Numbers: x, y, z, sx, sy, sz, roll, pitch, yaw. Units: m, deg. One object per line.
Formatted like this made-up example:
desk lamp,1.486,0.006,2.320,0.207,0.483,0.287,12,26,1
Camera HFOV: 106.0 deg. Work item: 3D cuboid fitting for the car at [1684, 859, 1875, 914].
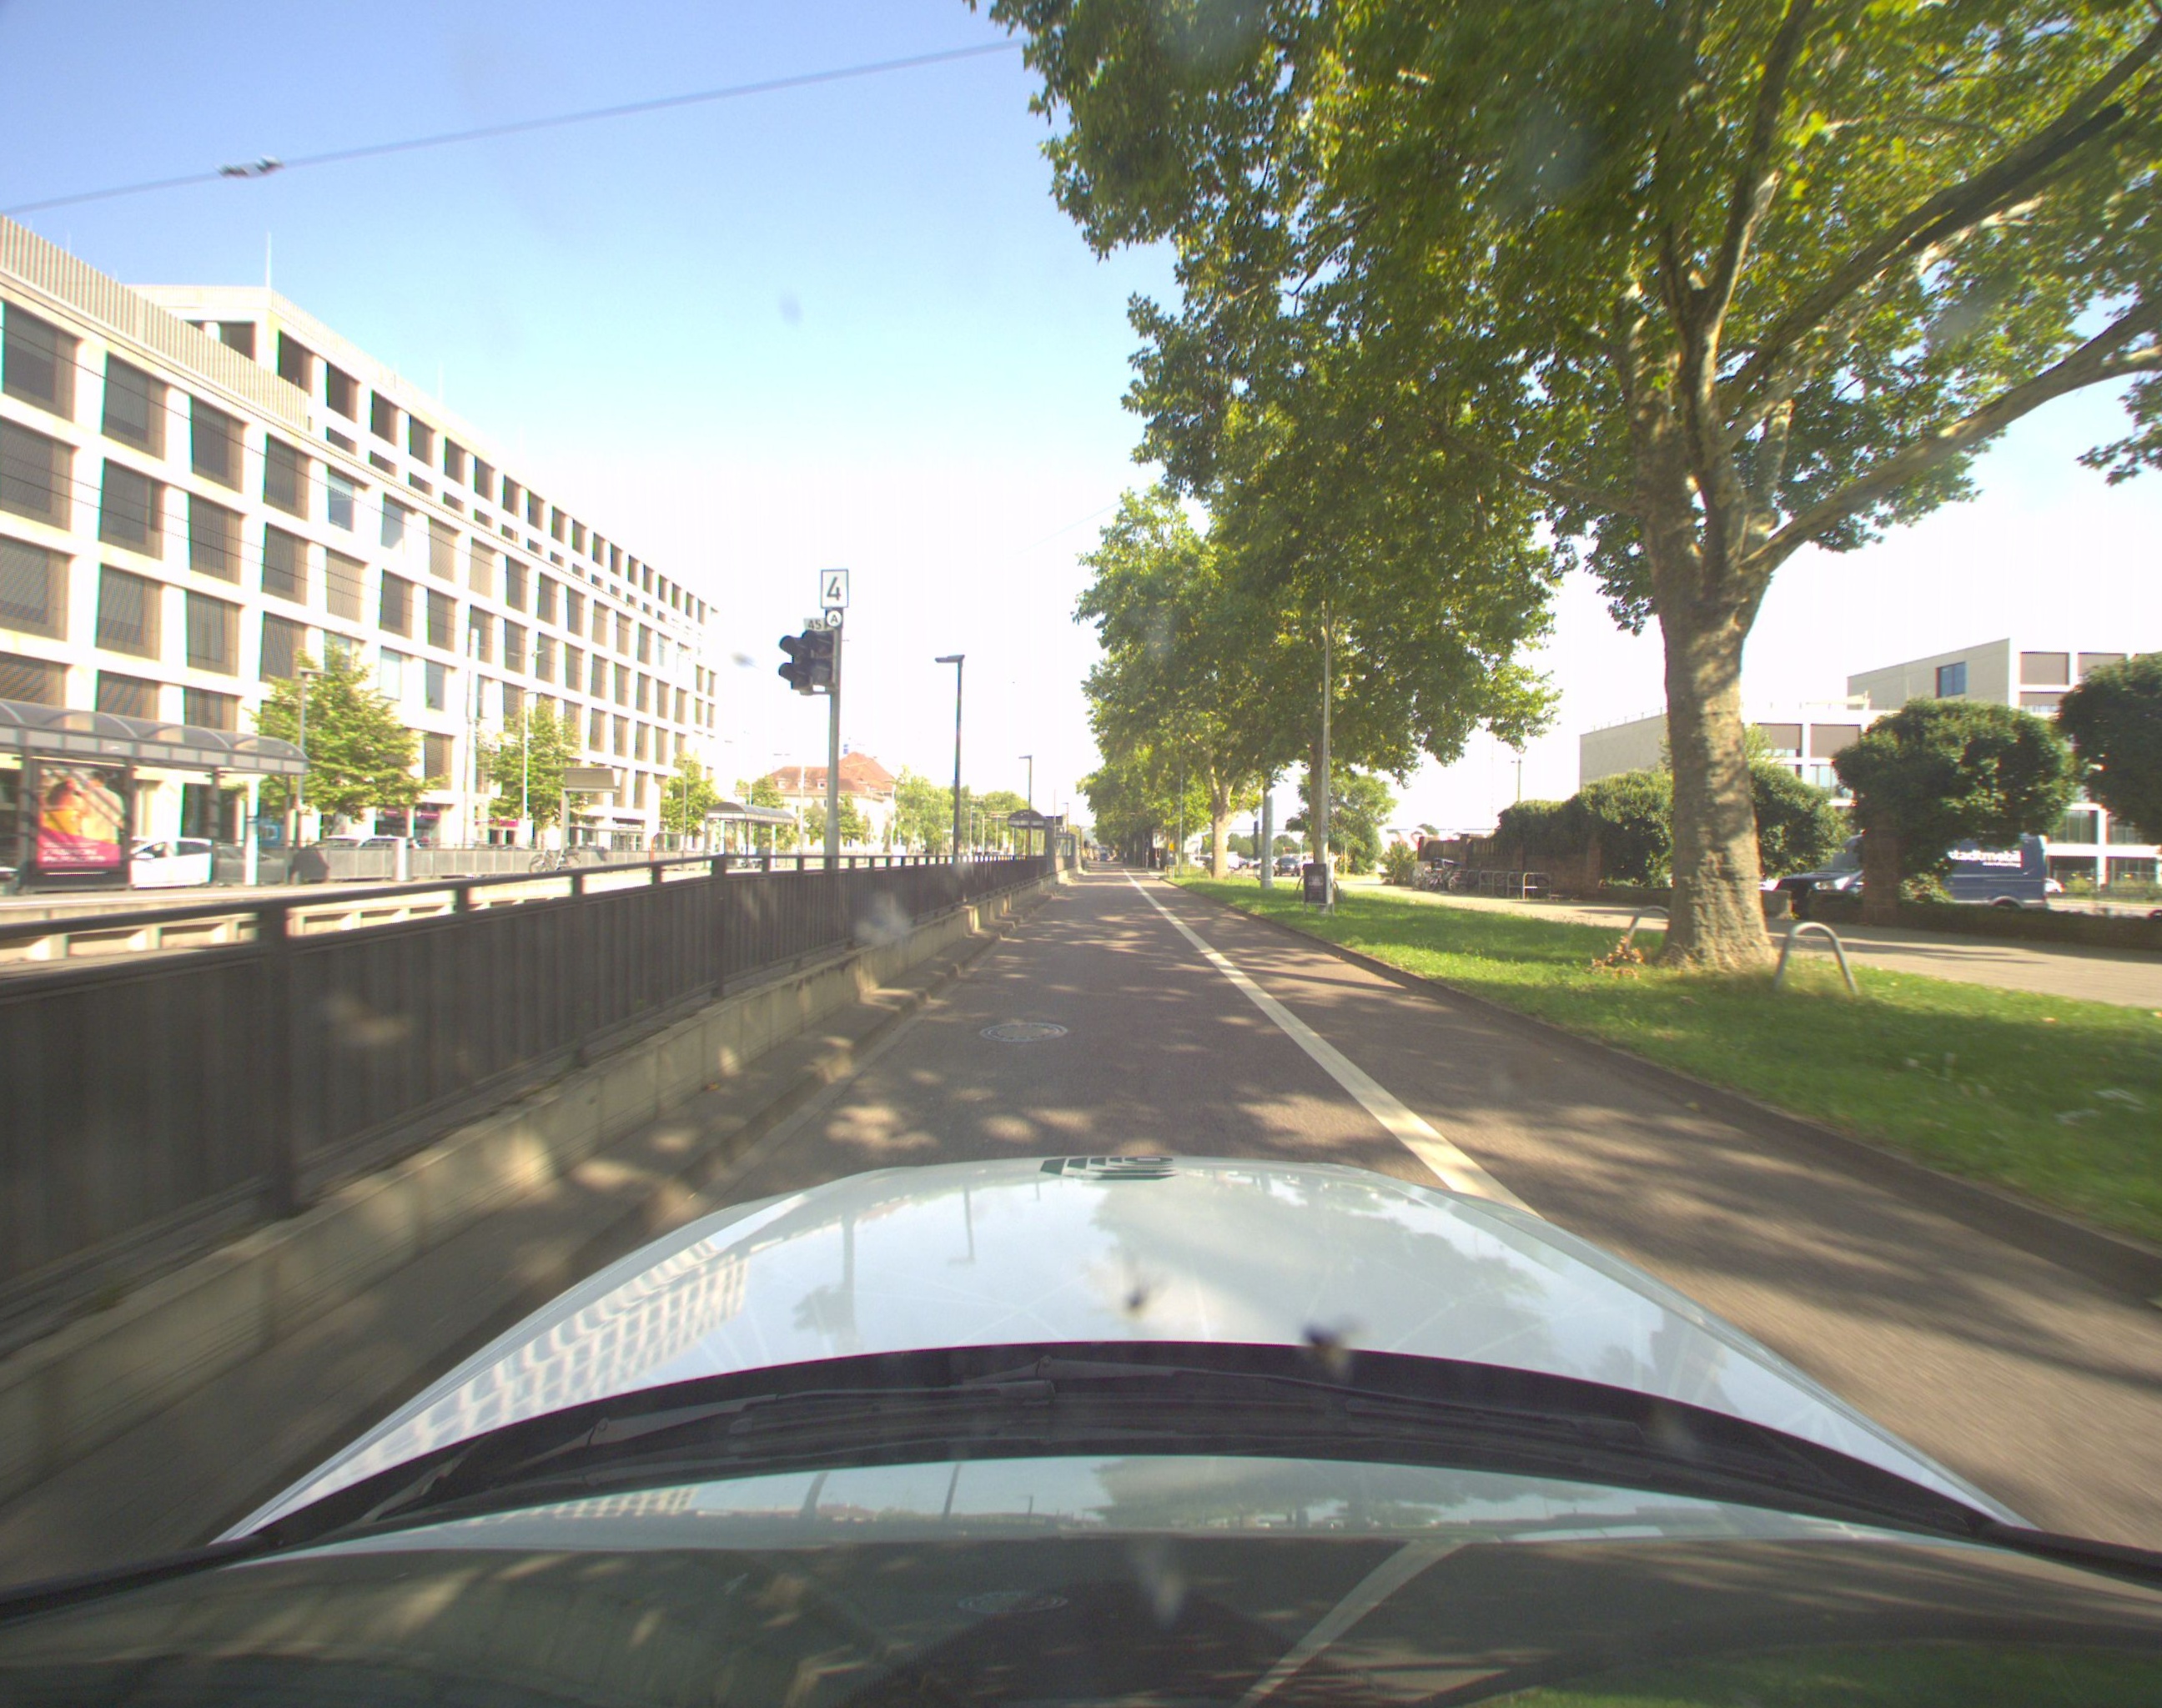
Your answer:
car,22.887,1.039,26.821,4.499,1.675,1.979,1,0,4

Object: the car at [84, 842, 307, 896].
car,-24.858,0.396,23.122,1.636,1.377,4.224,1,0,1

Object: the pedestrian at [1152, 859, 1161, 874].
pedestrian,8.077,1.344,87.303,0.619,1.617,0.850,0,0,39

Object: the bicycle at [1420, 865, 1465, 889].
bicycle,15.308,0.962,34.492,1.649,0.969,0.506,-1,0,3

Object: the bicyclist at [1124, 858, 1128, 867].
bicyclist,7.553,1.437,136.867,0.703,1.461,1.009,2,-1,2

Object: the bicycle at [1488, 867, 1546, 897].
bicycle,14.625,0.948,27.344,1.647,0.969,0.507,-1,0,6

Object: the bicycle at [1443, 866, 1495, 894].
bicycle,14.316,0.960,30.089,1.647,0.969,0.507,-1,0,6

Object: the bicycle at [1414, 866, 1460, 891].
bicycle,14.494,0.983,33.185,0.509,0.969,1.642,-1,-1,-40

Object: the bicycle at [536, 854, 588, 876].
bicycle,-16.412,0.336,25.799,0.474,0.662,1.616,1,0,6

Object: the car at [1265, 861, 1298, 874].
car,24.531,1.650,99.483,3.753,1.446,1.530,2,-1,8

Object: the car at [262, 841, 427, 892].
car,-24.581,0.385,27.410,1.636,1.550,4.224,1,0,1

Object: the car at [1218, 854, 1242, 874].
car,15.365,1.020,84.066,1.715,2.048,4.463,1,0,2

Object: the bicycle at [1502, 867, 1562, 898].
bicycle,14.648,0.931,26.486,1.649,0.969,0.506,-1,0,2

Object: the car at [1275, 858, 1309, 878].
car,18.285,1.192,70.502,1.705,1.679,4.275,1,0,30

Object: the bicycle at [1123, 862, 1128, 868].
bicycle,7.535,1.839,136.803,0.712,1.107,2.510,2,-1,2

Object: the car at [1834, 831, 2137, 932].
car,22.674,0.646,20.626,5.107,2.368,2.133,1,0,4

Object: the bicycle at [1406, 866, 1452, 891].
bicycle,13.964,0.990,32.701,0.509,0.969,1.642,-1,-1,-40
